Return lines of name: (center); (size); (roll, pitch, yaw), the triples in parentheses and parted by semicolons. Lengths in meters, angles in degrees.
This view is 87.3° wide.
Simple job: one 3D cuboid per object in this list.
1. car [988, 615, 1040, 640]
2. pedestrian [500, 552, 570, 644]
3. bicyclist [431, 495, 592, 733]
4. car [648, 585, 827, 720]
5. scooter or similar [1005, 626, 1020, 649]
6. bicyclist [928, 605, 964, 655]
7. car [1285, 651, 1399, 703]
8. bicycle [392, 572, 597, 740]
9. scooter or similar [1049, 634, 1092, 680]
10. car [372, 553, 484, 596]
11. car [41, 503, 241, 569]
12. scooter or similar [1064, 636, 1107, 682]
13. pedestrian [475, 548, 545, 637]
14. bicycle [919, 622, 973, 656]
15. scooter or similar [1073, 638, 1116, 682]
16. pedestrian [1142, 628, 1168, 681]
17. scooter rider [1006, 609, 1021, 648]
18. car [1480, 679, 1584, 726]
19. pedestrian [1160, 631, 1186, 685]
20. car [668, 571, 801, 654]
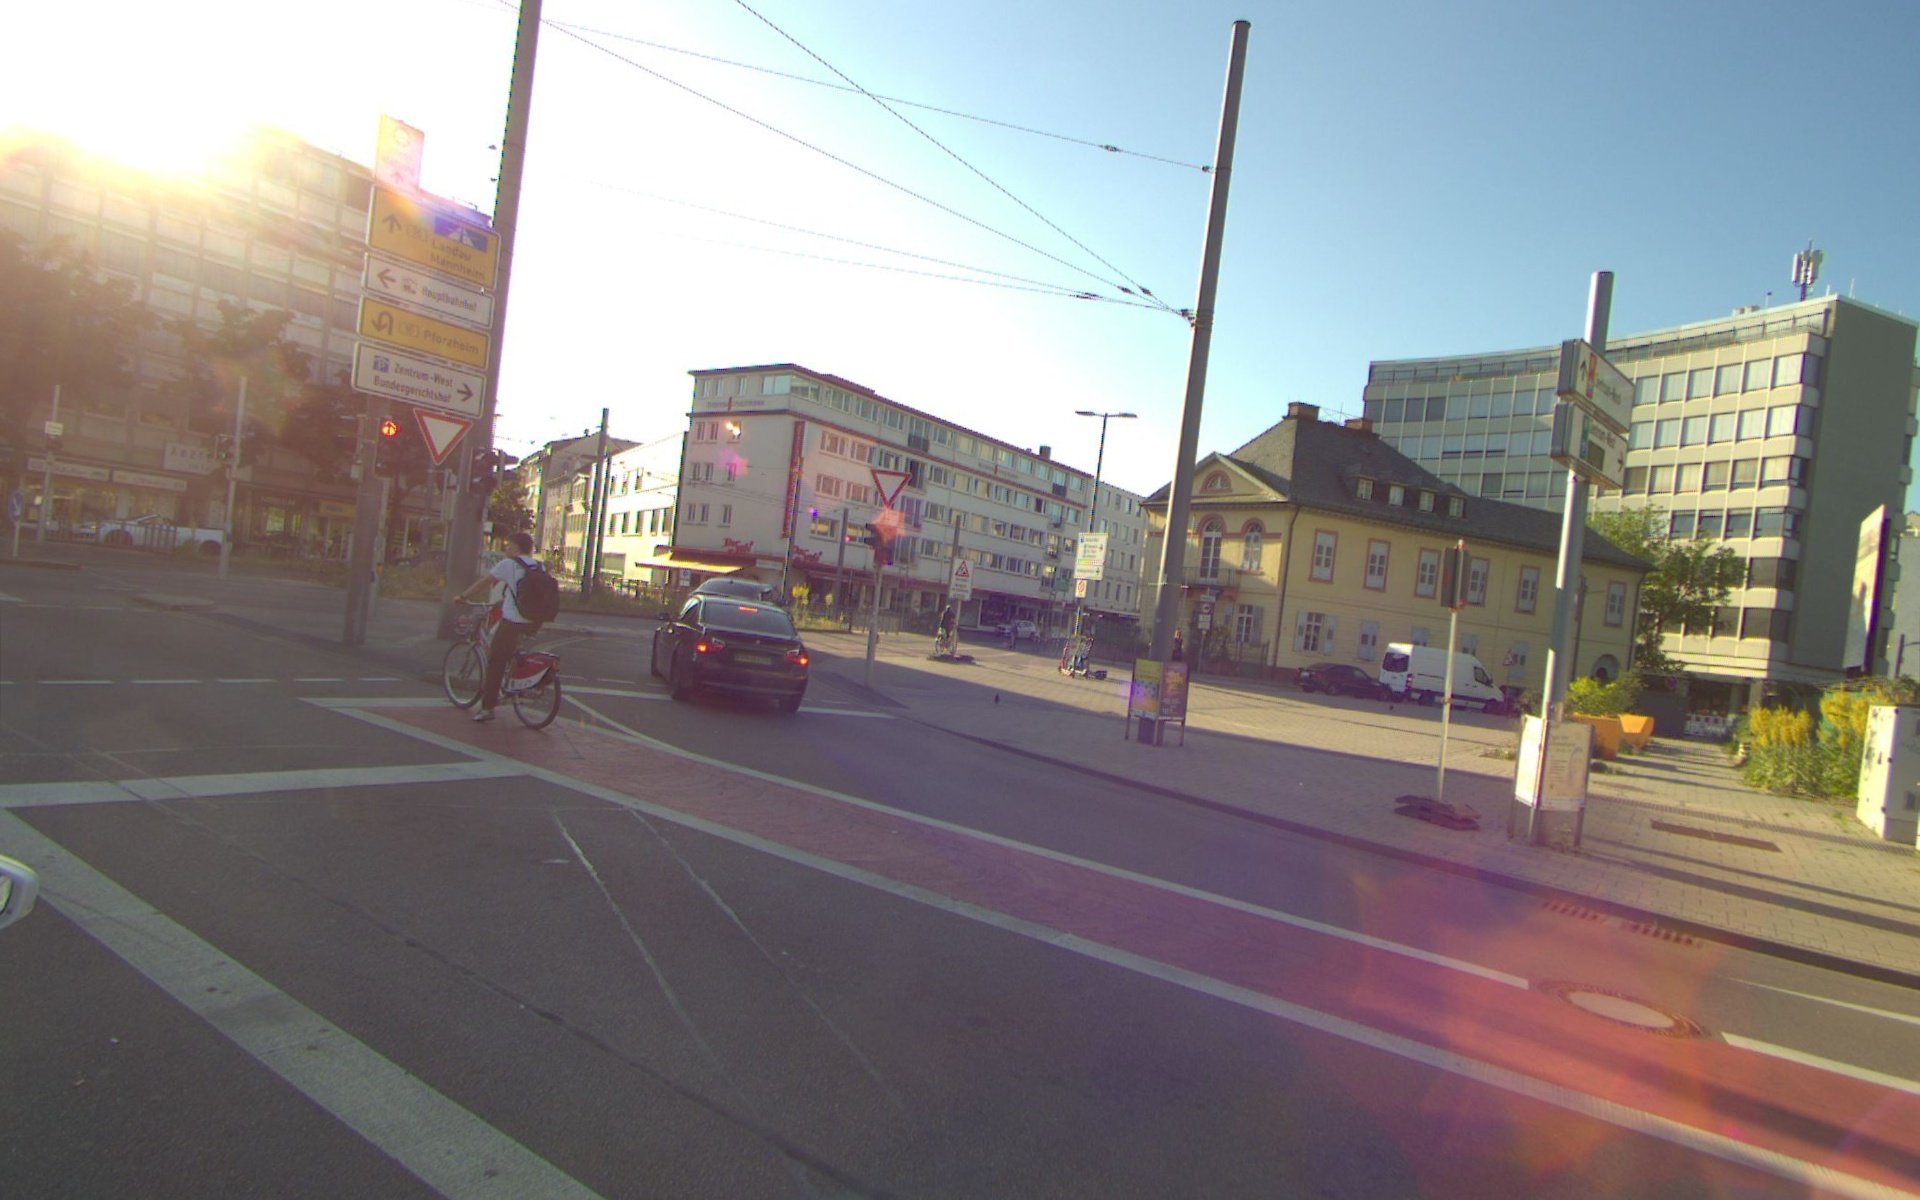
car: (4.503, 2.269, 83.201); (1.971, 1.597, 4.307); (7, -1, 39)
pedestrian: (-8.049, -0.025, 19.061); (0.644, 1.617, 0.879); (7, 1, 30)
bicyclist: (-4.193, 0.127, 9.393); (1.049, 2.037, 0.644); (9, 0, 33)
car: (-3.301, 0.644, 14.309); (1.726, 1.443, 3.980); (7, -1, -22)
scooter or similar: (2.672, 1.917, 51.556); (0.485, 1.046, 1.386); (7, 0, -3)
bicyclist: (-0.492, 1.076, 36.326); (0.680, 1.682, 0.959); (7, 0, 35)
car: (16.277, 3.275, 42.911); (4.102, 1.593, 1.992); (7, 0, -18)
bicycle: (-4.422, 0.500, 9.495); (2.014, 1.237, 0.645); (9, 0, 33)
scooter or similar: (3.479, 1.792, 31.656); (0.563, 1.274, 1.334); (6, 0, -28)
car: (-24.340, -1.155, 46.135); (1.968, 1.437, 3.989); (7, -1, 35)
car: (-27.858, -2.150, 34.385); (1.970, 1.496, 4.919); (7, -1, 37)
scooter or similar: (3.975, 1.869, 31.972); (0.563, 1.274, 1.334); (6, 0, -28)
pedestrian: (-8.754, -0.126, 19.585); (0.644, 1.617, 0.879); (7, 1, 30)
bicycle: (-0.481, 1.421, 36.390); (0.671, 1.039, 2.227); (7, -1, 35)
scooter or similar: (4.342, 1.938, 32.571); (0.563, 1.274, 1.334); (6, 0, -28)
pedestrian: (7.114, 1.987, 36.617); (0.587, 1.847, 0.728); (7, 1, 23)
scooter rider: (2.720, 1.470, 51.551); (0.492, 1.943, 0.533); (7, 1, -3)
car: (26.730, 4.770, 47.027); (3.941, 1.593, 1.992); (7, 0, -18)
pedestrian: (7.703, 2.101, 36.372); (0.587, 1.847, 0.728); (7, 1, 23)
car: (-5.706, 0.367, 26.008); (1.962, 1.713, 4.003); (9, -1, 6)
